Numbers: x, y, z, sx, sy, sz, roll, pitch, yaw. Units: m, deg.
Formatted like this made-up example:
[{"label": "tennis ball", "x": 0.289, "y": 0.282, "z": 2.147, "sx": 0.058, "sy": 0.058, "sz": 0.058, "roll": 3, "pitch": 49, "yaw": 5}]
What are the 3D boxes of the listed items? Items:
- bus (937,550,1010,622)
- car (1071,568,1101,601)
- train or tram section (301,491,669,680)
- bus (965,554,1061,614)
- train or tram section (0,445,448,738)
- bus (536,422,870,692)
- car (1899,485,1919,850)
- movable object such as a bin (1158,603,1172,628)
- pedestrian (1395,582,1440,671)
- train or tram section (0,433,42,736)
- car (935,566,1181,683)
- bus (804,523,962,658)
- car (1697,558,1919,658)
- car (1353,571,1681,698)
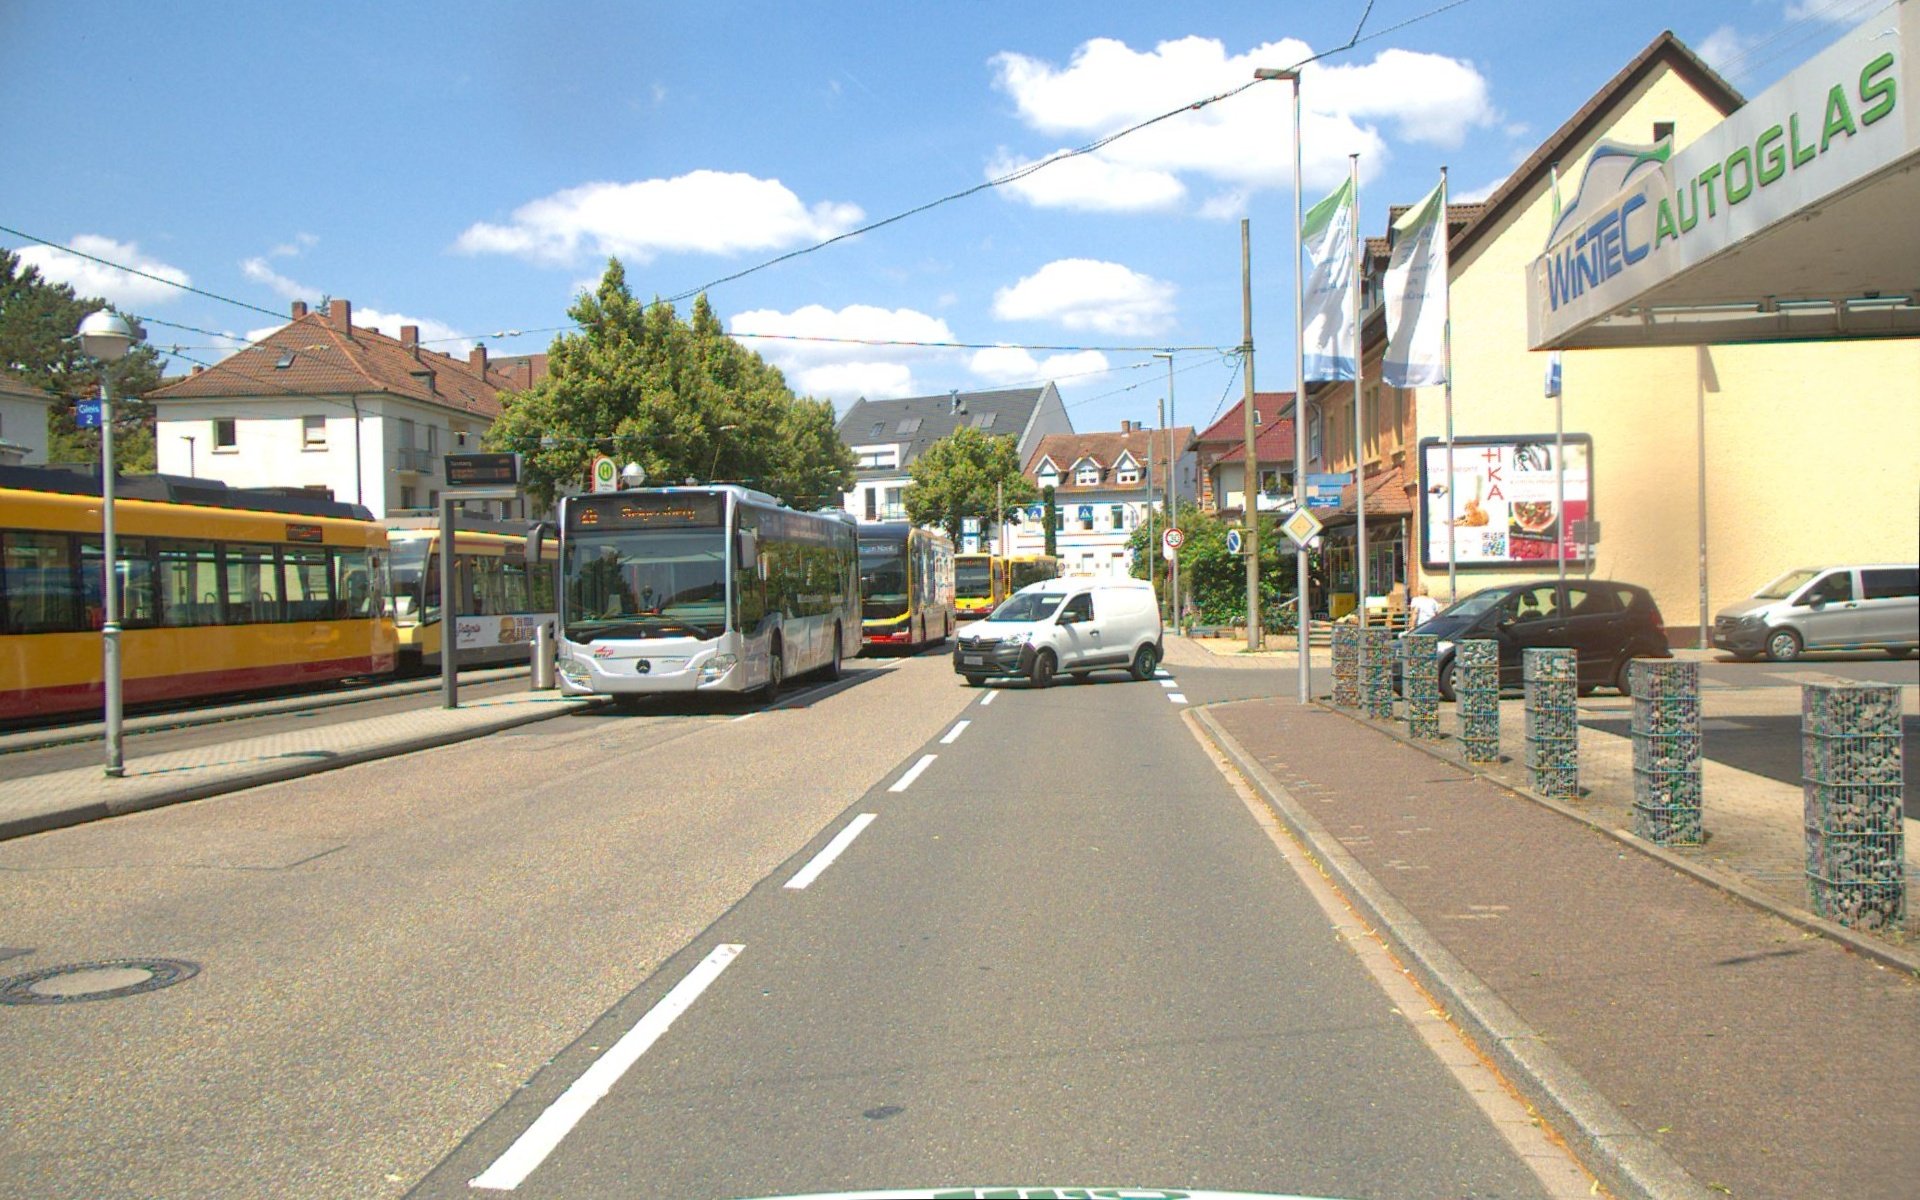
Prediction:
[{"label": "bus", "x": 0.807, "y": -0.658, "z": 82.998, "sx": 2.846, "sy": 3.304, "sz": 12.125, "roll": 1, "pitch": 0, "yaw": 4}, {"label": "car", "x": 8.368, "y": -0.995, "z": 109.635, "sx": 1.951, "sy": 2.049, "sz": 4.002, "roll": 1, "pitch": -1, "yaw": 5}, {"label": "train or tram section", "x": -10.951, "y": -0.315, "z": 41.412, "sx": 2.901, "sy": 3.706, "sz": 17.361, "roll": 1, "pitch": 0, "yaw": 4}, {"label": "bus", "x": 3.255, "y": -1.002, "z": 96.565, "sx": 2.721, "sy": 3.264, "sz": 12.316, "roll": 1, "pitch": 1, "yaw": 16}, {"label": "train or tram section", "x": -12.097, "y": -0.146, "z": 26.514, "sx": 2.901, "sy": 3.556, "sz": 12.664, "roll": 1, "pitch": 0, "yaw": 4}, {"label": "bus", "x": -3.686, "y": -0.489, "z": 27.608, "sx": 2.847, "sy": 3.487, "sz": 12.045, "roll": 1, "pitch": -1, "yaw": 4}, {"label": "car", "x": 6.859, "y": 0.359, "z": 7.521, "sx": 4.217, "sy": 1.821, "sz": 1.810, "roll": 0, "pitch": -1, "yaw": 44}, {"label": "movable object such as a bin", "x": 7.861, "y": 0.579, "z": 63.318, "sx": 0.398, "sy": 0.922, "sz": 0.729, "roll": -4, "pitch": -1, "yaw": 1}, {"label": "pedestrian", "x": 8.831, "y": 0.501, "z": 31.926, "sx": 0.691, "sy": 1.670, "sz": 0.659, "roll": -2, "pitch": 2, "yaw": 25}, {"label": "train or tram section", "x": -12.841, "y": -0.139, "z": 18.033, "sx": 2.901, "sy": 3.556, "sz": 4.420, "roll": -2, "pitch": 0, "yaw": 4}, {"label": "car", "x": 1.795, "y": 0.356, "z": 28.883, "sx": 1.681, "sy": 1.883, "sz": 4.680, "roll": 0, "pitch": 1, "yaw": 44}, {"label": "bus", "x": -1.907, "y": -0.155, "z": 46.885, "sx": 2.837, "sy": 3.304, "sz": 12.203, "roll": 1, "pitch": -1, "yaw": 5}, {"label": "car", "x": 17.849, "y": 0.151, "z": 33.491, "sx": 4.949, "sy": 1.894, "sz": 1.909, "roll": -1, "pitch": -1, "yaw": 1}, {"label": "car", "x": 7.504, "y": 0.449, "z": 22.476, "sx": 3.803, "sy": 1.570, "sz": 1.839, "roll": -1, "pitch": -1, "yaw": -8}]
